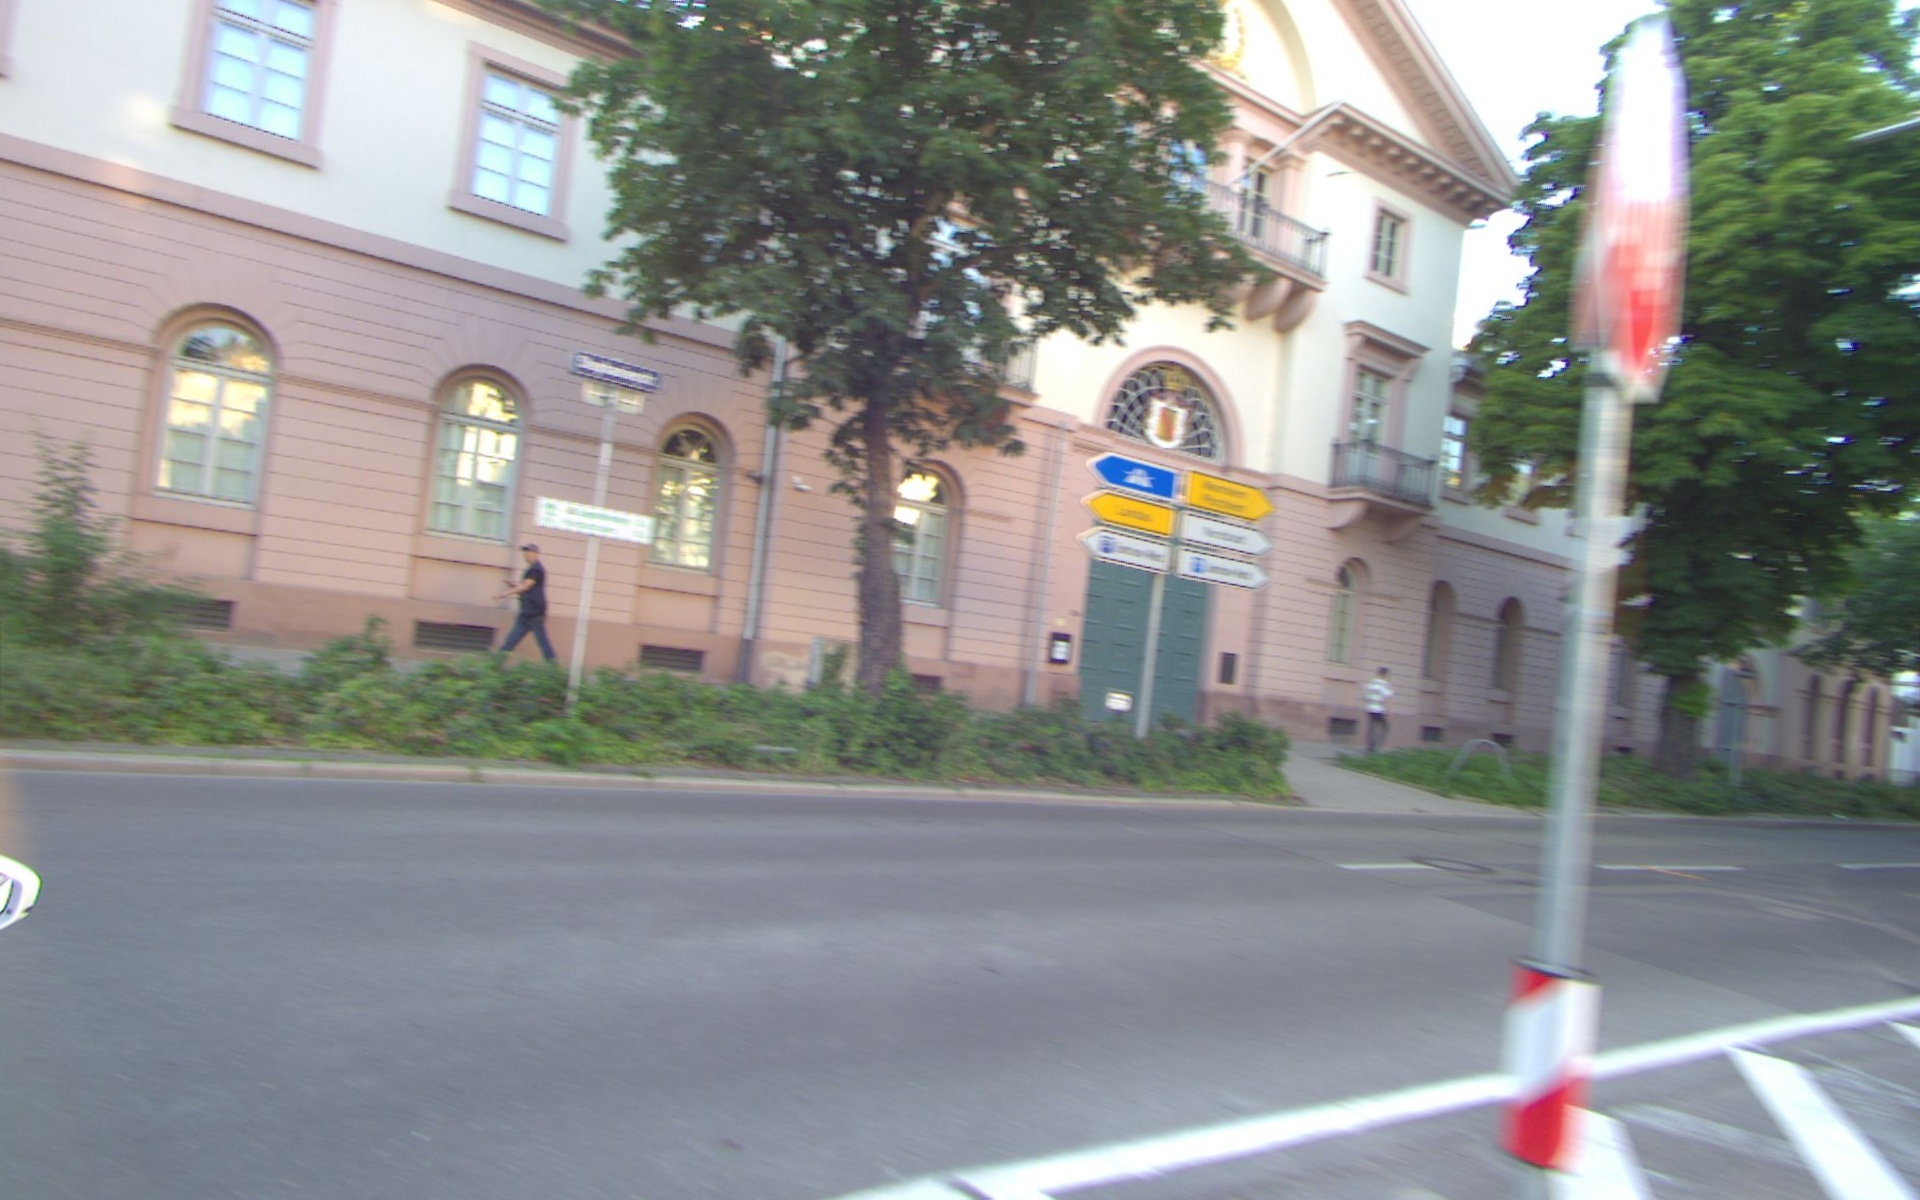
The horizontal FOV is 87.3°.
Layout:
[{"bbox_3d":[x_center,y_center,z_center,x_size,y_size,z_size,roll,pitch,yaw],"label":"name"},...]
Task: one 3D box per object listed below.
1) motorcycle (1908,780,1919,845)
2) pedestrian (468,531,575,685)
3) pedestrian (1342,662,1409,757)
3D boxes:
[{"bbox_3d":[18.912,4.097,19.050,1.944,1.173,0.788,8,-3,-28],"label":"motorcycle"},{"bbox_3d":[-5.795,0.112,13.279,1.070,1.860,0.796,7,-1,-27],"label":"pedestrian"},{"bbox_3d":[8.717,2.291,21.113,0.922,1.853,0.793,7,-1,-37],"label":"pedestrian"}]
